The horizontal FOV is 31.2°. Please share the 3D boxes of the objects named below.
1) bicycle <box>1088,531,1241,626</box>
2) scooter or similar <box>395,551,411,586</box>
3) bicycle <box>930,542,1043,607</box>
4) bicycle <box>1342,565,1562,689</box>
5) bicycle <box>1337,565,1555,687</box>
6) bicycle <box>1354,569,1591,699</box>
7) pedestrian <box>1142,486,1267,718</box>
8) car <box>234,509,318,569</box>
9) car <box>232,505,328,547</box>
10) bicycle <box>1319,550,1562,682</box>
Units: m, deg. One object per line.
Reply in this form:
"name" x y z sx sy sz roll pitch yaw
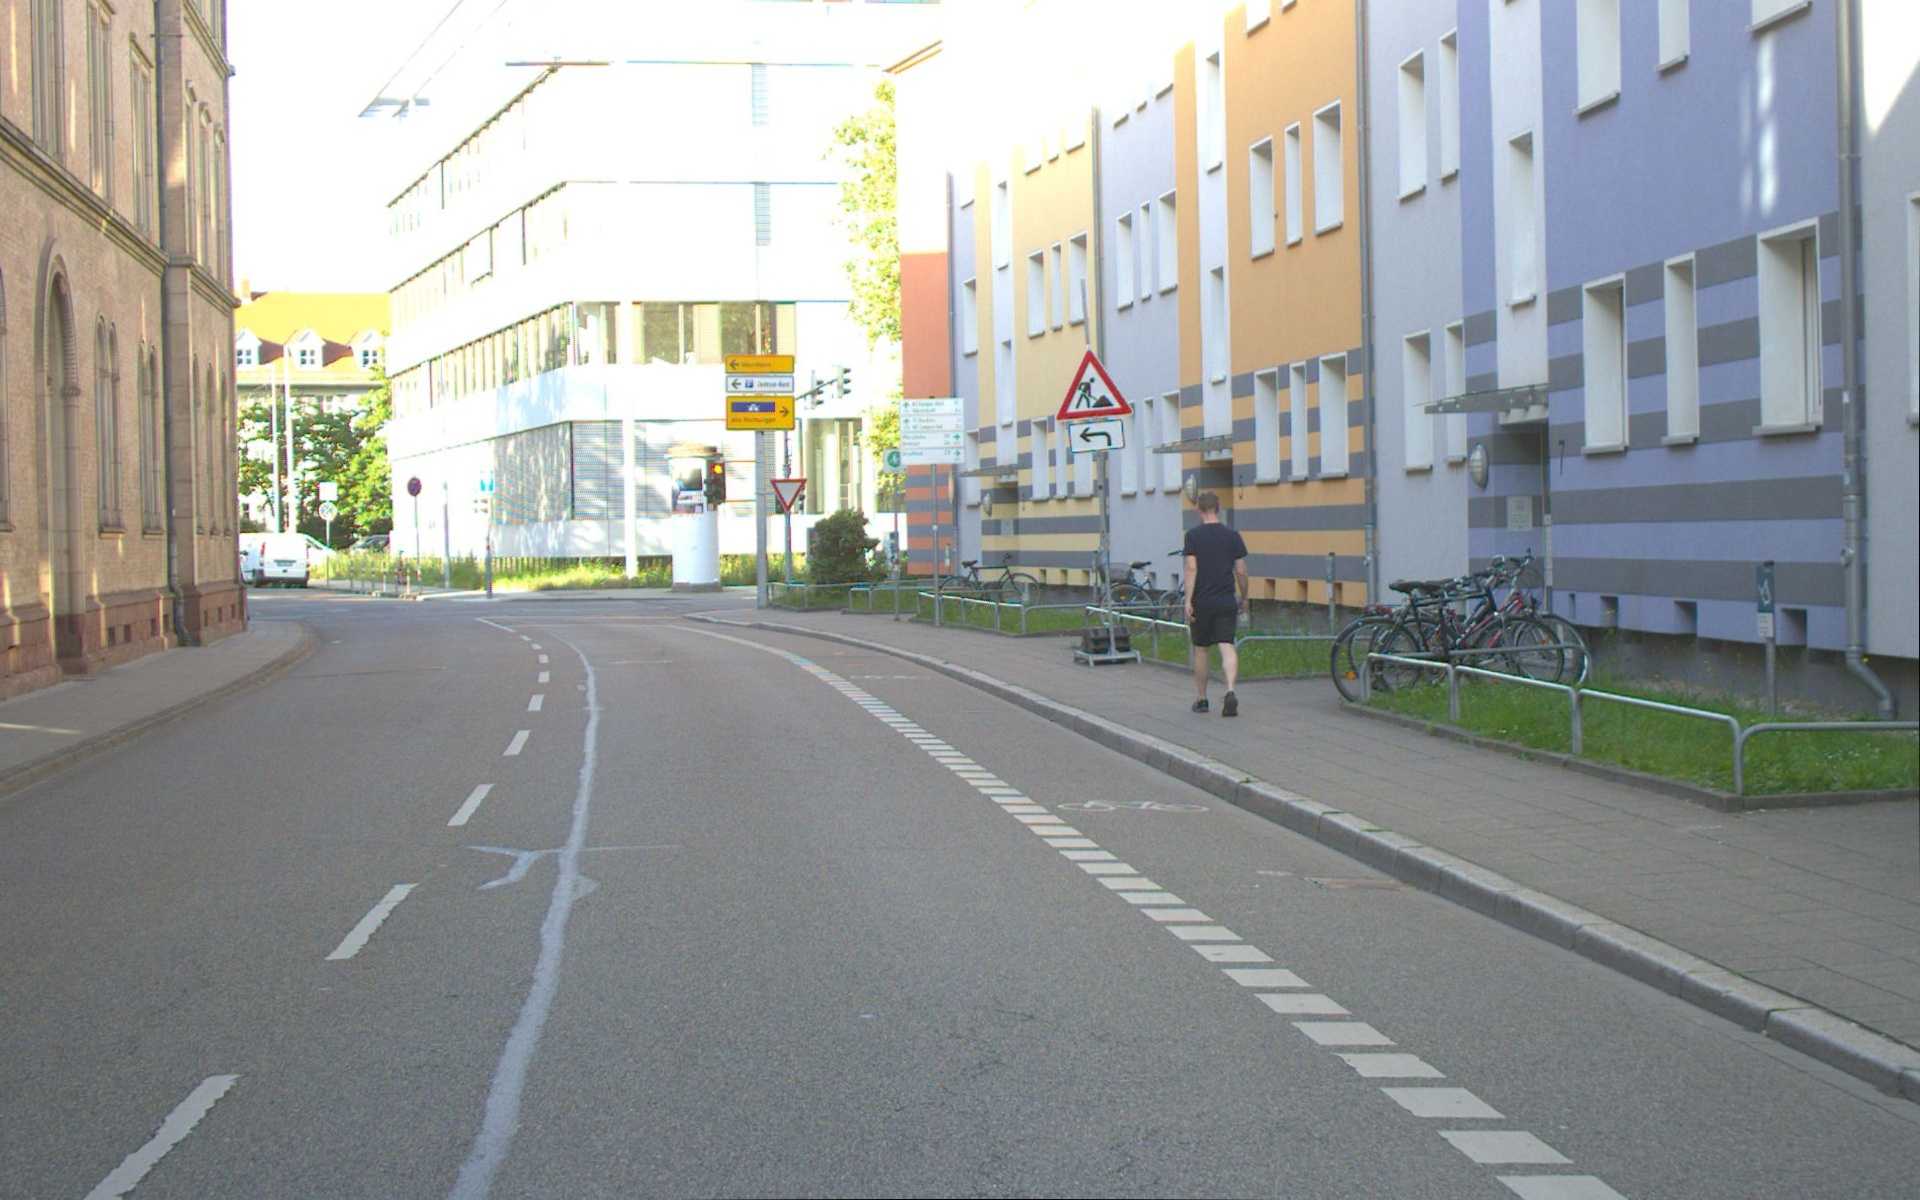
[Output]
"bicycle" 2.562 -0.272 43.116 1.810 1.133 0.552 -2 1 -7
"scooter or similar" -17.119 -0.975 105.634 0.325 1.056 1.143 -2 2 -17
"bicycle" 0.438 -0.432 57.369 1.753 1.000 0.613 -3 1 -10
"bicycle" 4.069 0.220 28.452 1.748 0.943 0.326 -2 1 -4
"bicycle" 4.079 0.217 28.873 1.748 0.943 0.335 -2 1 -5
"bicycle" 4.063 0.262 27.294 1.748 0.943 0.552 -2 1 -5
"pedestrian" 1.922 0.000 27.132 0.696 1.754 1.189 -4 2 -5
"car" -24.707 -2.180 124.075 2.423 2.104 5.233 0 1 -17
"car" -31.896 -3.463 161.252 3.986 1.908 1.920 0 1 -28
"bicycle" 3.716 0.117 26.629 1.748 0.943 0.552 -2 1 -5
